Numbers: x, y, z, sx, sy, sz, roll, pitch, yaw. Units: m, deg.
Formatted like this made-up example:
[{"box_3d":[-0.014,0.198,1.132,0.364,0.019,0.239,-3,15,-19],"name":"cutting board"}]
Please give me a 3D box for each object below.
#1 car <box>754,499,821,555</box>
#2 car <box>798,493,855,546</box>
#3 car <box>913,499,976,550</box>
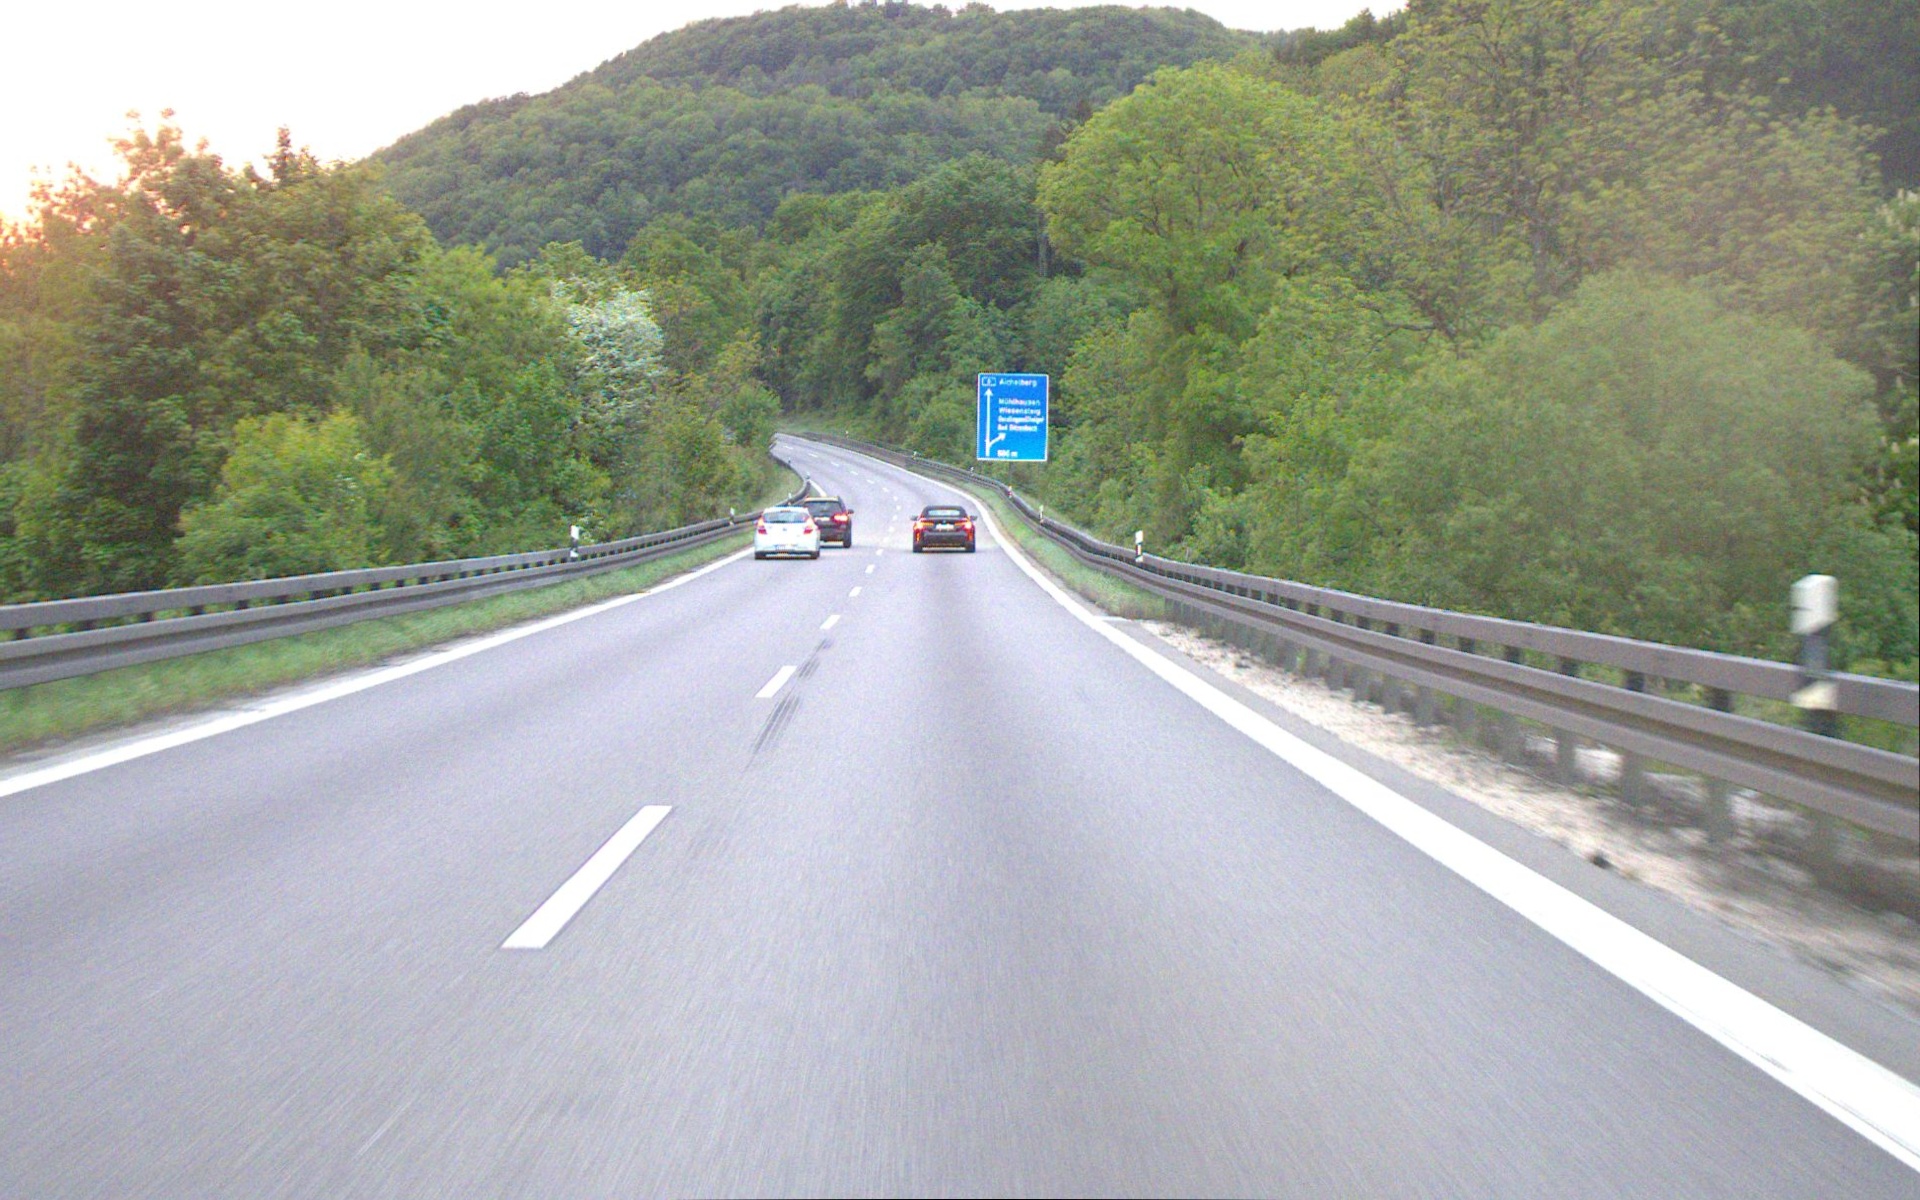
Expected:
[{"box_3d":[-4.864,-2.082,97.212,1.718,1.496,4.001,0,2,-1],"name":"car"},{"box_3d":[-4.305,-2.609,111.116,1.718,1.629,4.001,0,2,-1],"name":"car"},{"box_3d":[-0.480,-2.324,105.198,1.878,1.461,4.001,0,2,-1],"name":"car"}]
